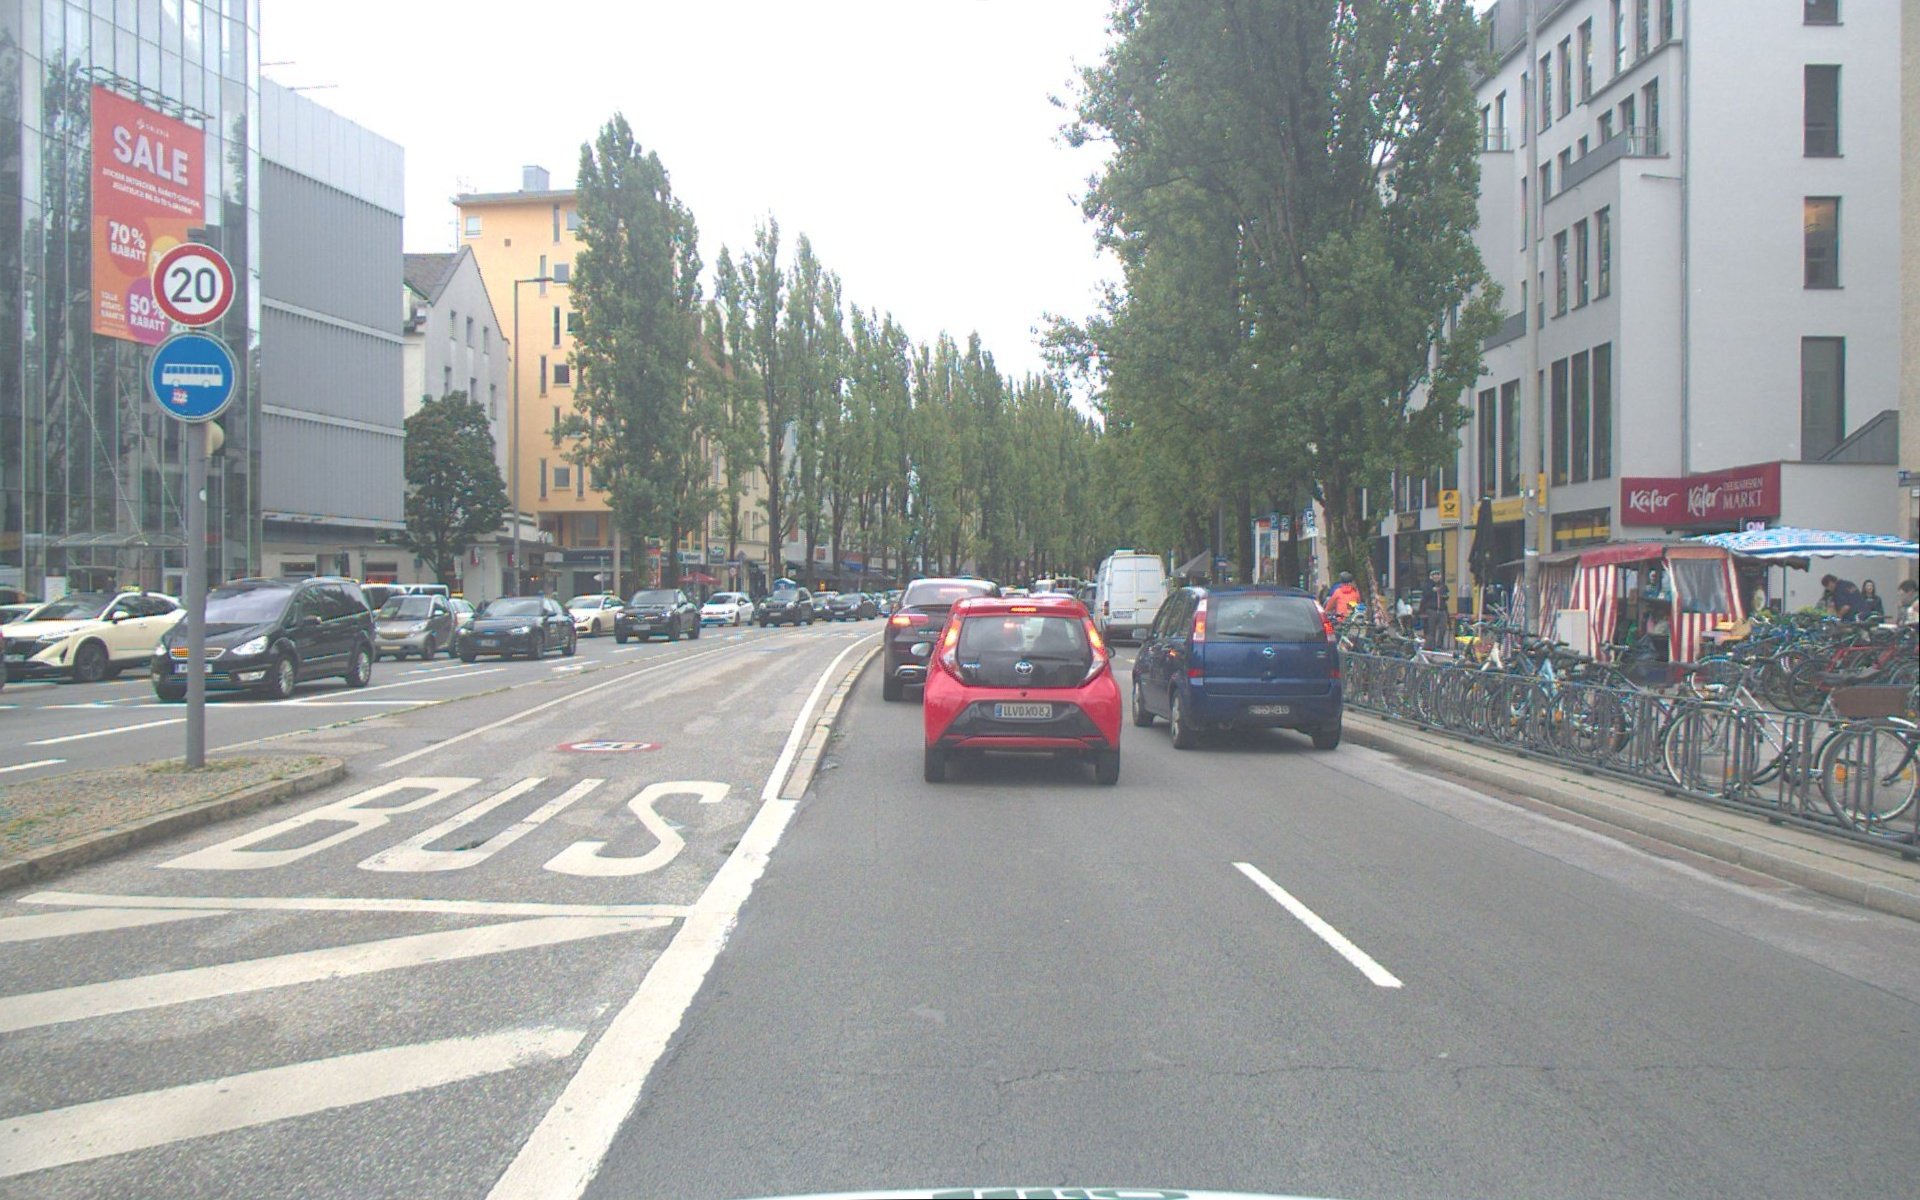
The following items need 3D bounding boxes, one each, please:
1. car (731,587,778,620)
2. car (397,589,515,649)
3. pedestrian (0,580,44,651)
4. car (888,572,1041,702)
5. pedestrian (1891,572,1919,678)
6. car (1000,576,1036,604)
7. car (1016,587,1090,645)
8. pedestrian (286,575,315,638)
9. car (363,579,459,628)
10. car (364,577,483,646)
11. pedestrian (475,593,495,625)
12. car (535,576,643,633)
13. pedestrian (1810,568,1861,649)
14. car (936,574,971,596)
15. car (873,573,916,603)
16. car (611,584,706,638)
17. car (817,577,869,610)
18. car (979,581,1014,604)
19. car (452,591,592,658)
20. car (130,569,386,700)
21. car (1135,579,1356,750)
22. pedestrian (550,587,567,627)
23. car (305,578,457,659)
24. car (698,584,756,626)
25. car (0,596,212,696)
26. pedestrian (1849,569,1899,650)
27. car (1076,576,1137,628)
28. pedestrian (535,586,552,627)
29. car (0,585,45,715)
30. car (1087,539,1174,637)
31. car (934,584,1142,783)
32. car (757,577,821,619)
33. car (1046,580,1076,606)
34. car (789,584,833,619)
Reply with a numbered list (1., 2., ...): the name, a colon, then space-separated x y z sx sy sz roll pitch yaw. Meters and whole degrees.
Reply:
1. car: -10.267 0.178 82.920 1.709 1.598 3.494 0 0 4
2. car: -15.381 0.560 50.709 1.952 1.684 4.534 3 0 3
3. pedestrian: -23.001 0.383 40.553 0.637 1.721 0.712 -1 0 11
4. car: 0.004 0.447 23.137 1.953 1.646 3.999 0 1 -2
5. pedestrian: 14.322 0.363 24.585 0.794 1.548 0.798 0 0 32
6. car: 3.088 -0.554 87.767 1.735 1.464 3.940 0 1 4
7. car: 2.438 0.395 43.963 1.665 1.451 3.496 0 1 -2
8. pedestrian: -19.365 0.188 48.572 0.545 1.849 0.628 0 0 10
9. car: -20.999 0.110 63.426 1.830 1.803 4.245 -1 1 7
10. car: -12.811 0.251 39.669 1.590 1.579 3.386 0 1 3
11. pedestrian: -19.671 0.363 68.530 0.545 1.313 0.628 0 0 10
12. car: -13.224 0.127 59.284 1.951 1.847 4.537 -2 1 13
13. pedestrian: 15.664 0.151 29.601 0.586 1.427 0.580 -1 0 -1
14. car: -0.508 -1.229 132.405 1.951 1.721 4.418 -1 1 11
15. car: -3.937 -0.710 100.178 1.951 1.721 4.924 1 0 6
16. car: -9.194 0.293 50.738 1.952 1.561 4.588 0 1 1
17. car: -6.195 -0.361 87.920 1.951 1.721 4.925 0 1 6
18. car: 2.814 -0.586 128.012 1.951 1.721 4.418 -1 1 11
19. car: -10.031 0.521 38.233 1.806 1.406 4.603 0 1 3
20. car: -10.345 0.438 24.795 1.897 1.769 4.588 0 1 0
21. car: 2.895 0.589 17.461 1.668 1.617 3.555 0 1 -1
22. pedestrian: -20.300 0.360 83.702 0.673 2.032 0.765 0 0 -2
23. car: -15.710 0.441 45.269 1.952 2.049 5.525 -1 1 3
24. car: -10.799 0.208 76.848 1.817 1.847 4.002 2 0 4
25. car: -16.246 0.797 31.038 1.951 1.708 4.187 0 0 11
26. pedestrian: 16.350 0.168 29.593 0.563 1.427 0.580 -1 0 -1
27. car: 4.890 0.061 55.438 1.668 1.691 3.555 0 0 -1
28. pedestrian: -21.051 0.335 83.643 0.674 2.032 0.765 0 0 -3
29. car: -13.040 0.651 19.782 1.801 1.642 4.258 0 1 0
30. car: 5.032 -0.368 49.353 2.064 2.766 4.804 -1 1 0
31. car: 0.590 0.629 14.309 1.572 1.487 3.130 1 1 0
32. car: -7.490 -0.111 72.819 1.952 1.721 4.924 1 1 4
33. car: 7.563 -0.518 123.564 1.951 1.870 4.003 -1 0 8
34. car: -8.404 0.062 93.523 1.817 1.847 4.002 2 0 4
